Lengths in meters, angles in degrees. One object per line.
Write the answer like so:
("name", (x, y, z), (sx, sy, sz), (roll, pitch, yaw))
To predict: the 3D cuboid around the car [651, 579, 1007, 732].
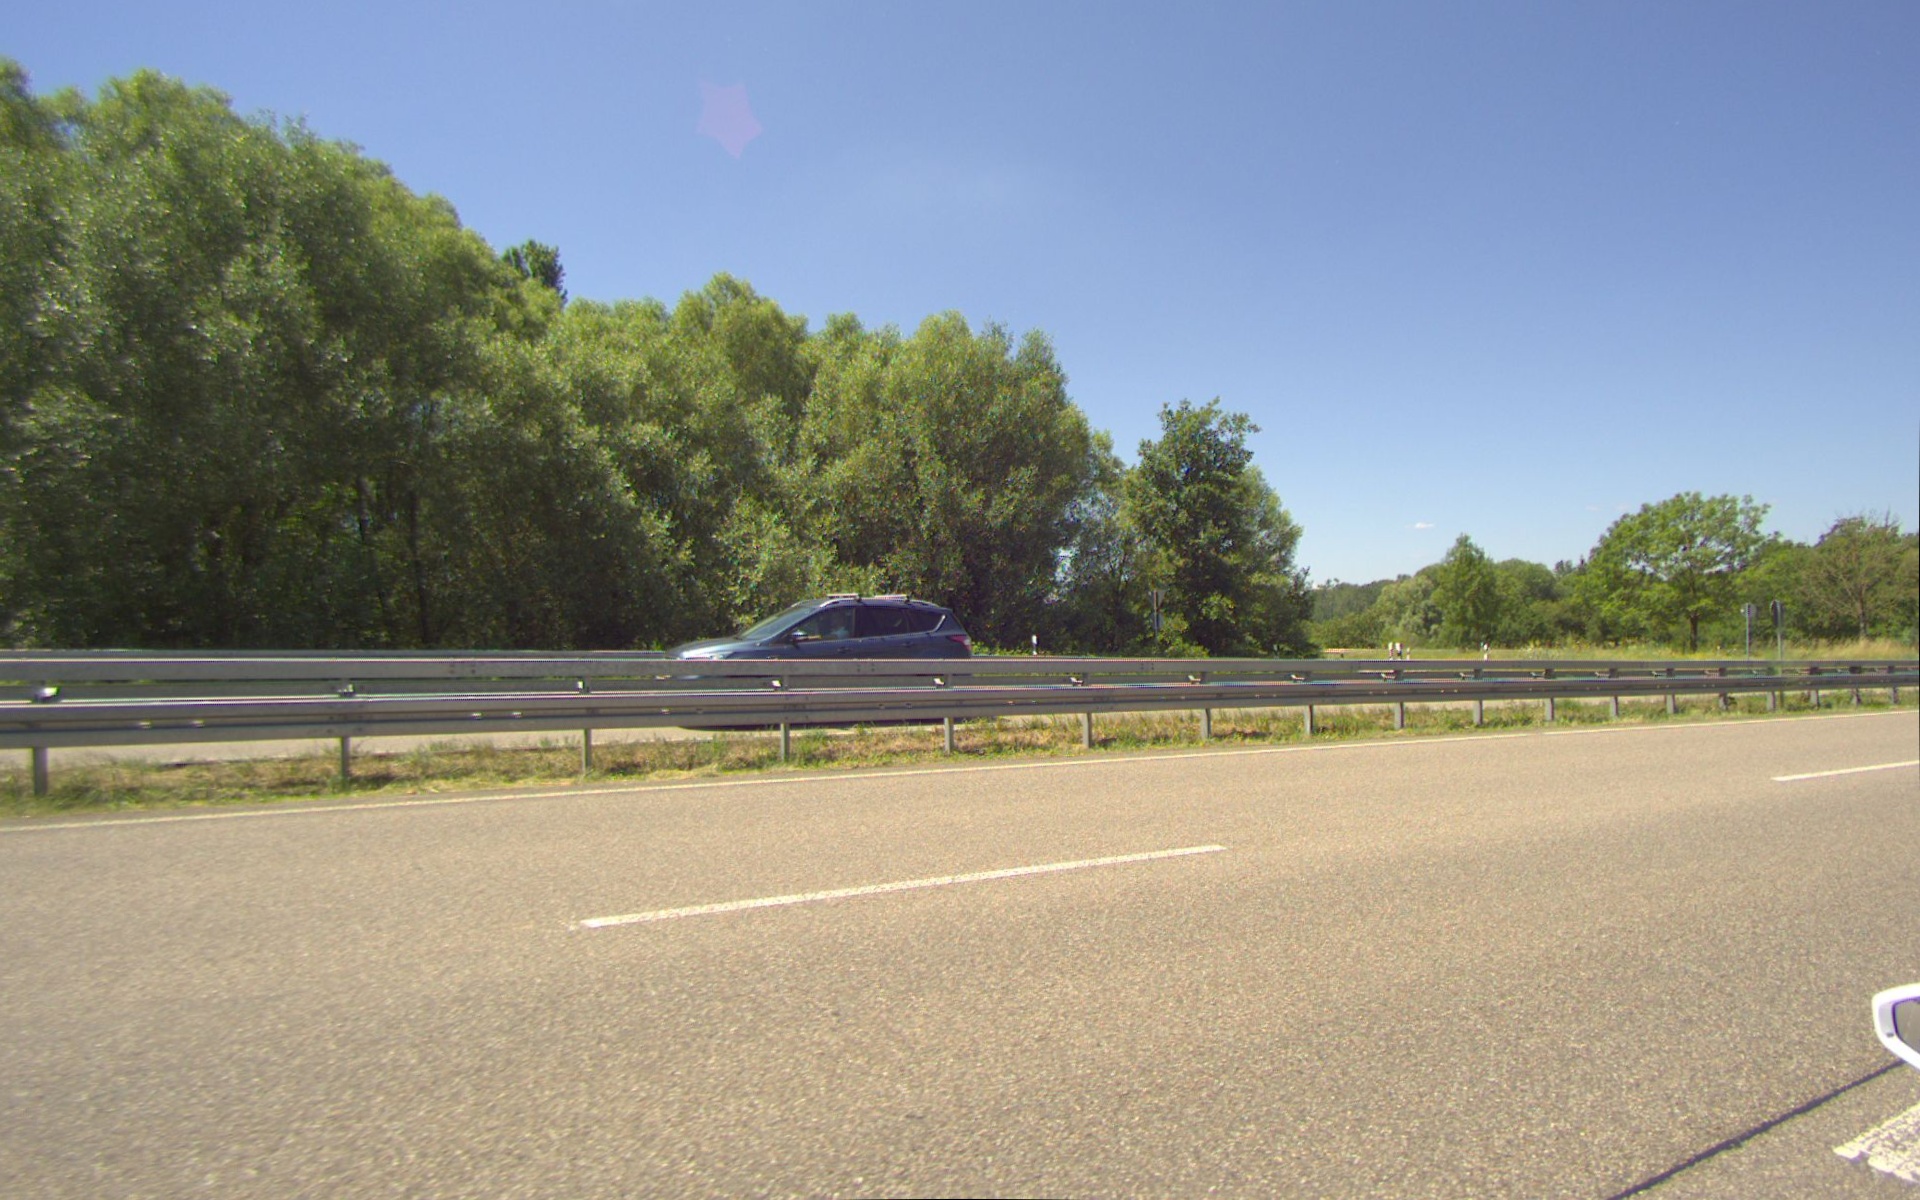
("car", (-1.773, 0.747, 14.128), (4.605, 1.854, 1.854), (2, -1, -30))
